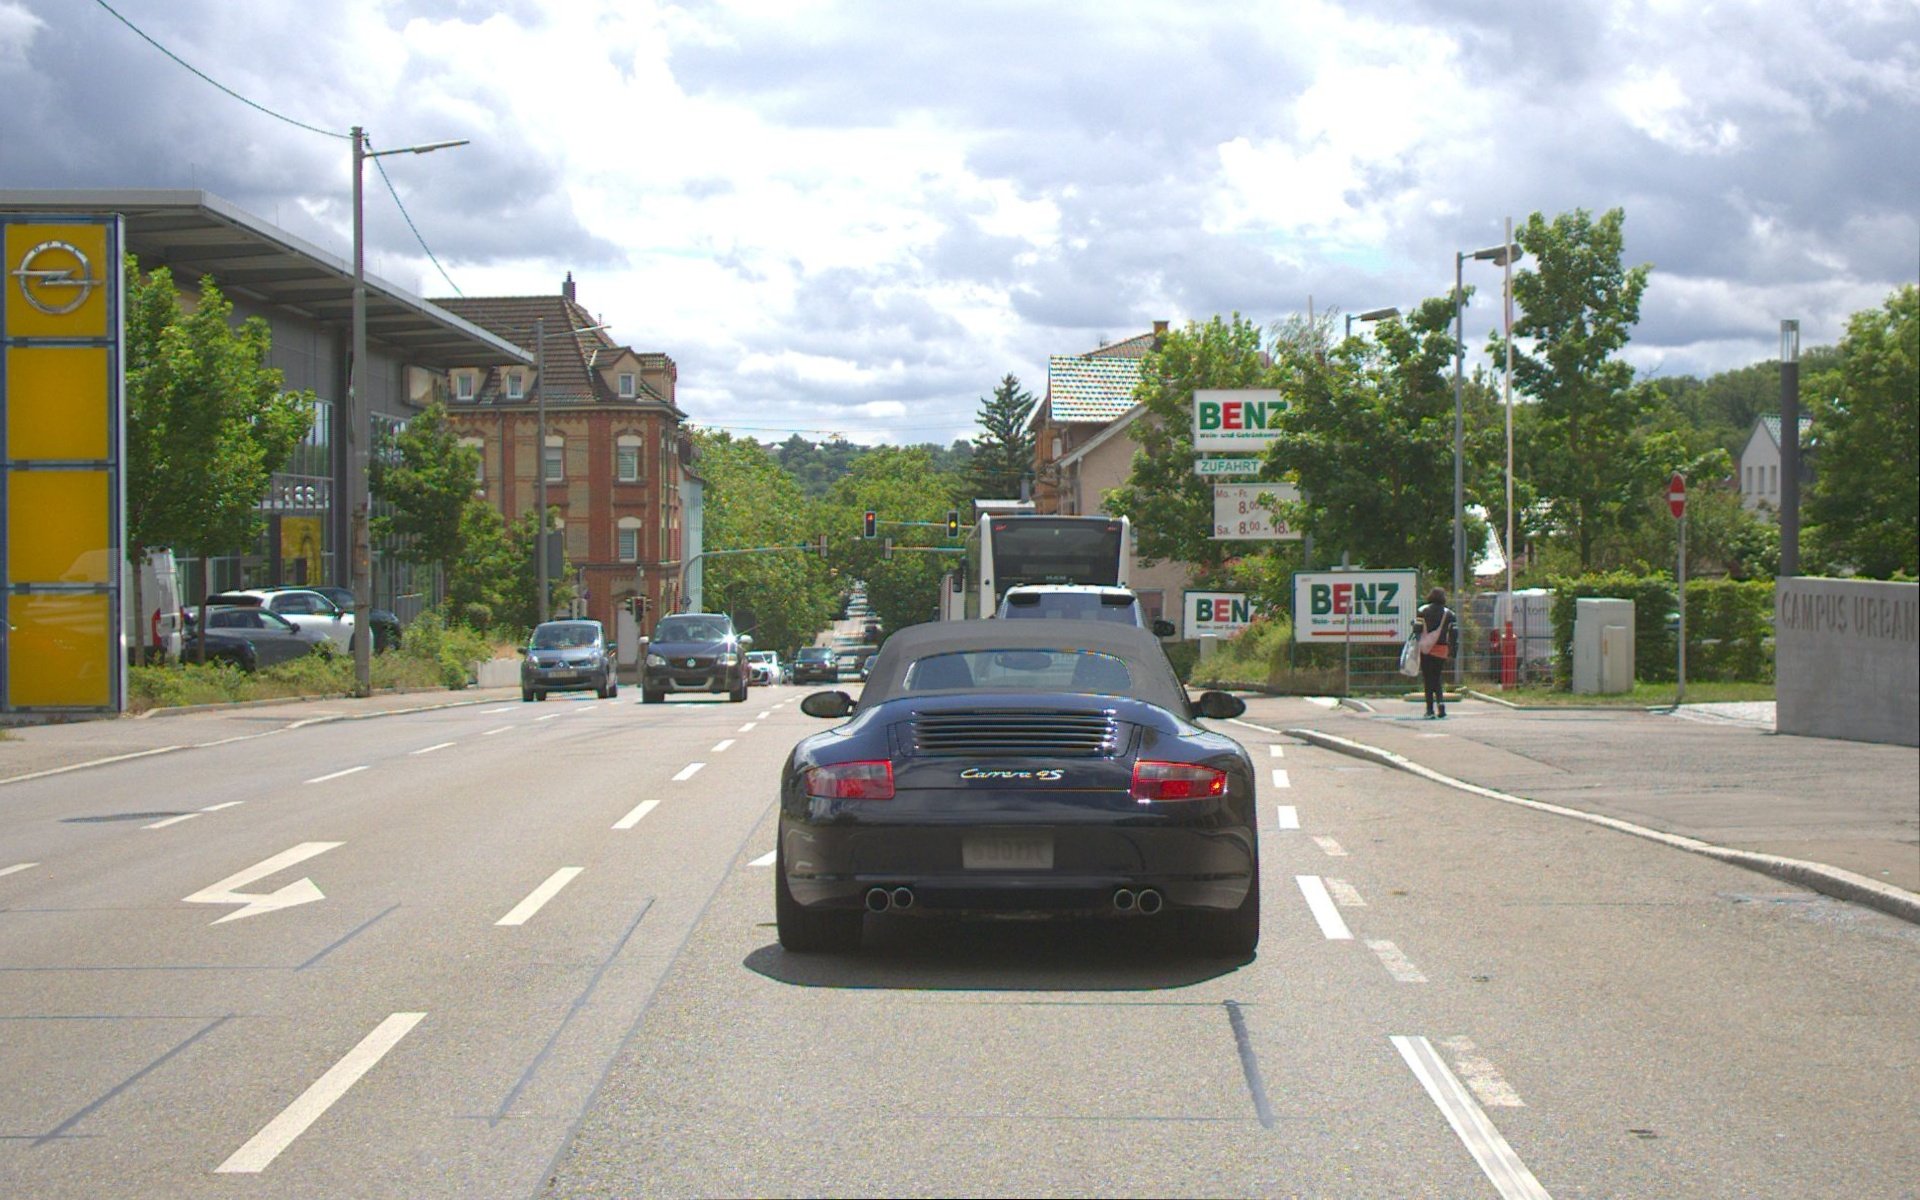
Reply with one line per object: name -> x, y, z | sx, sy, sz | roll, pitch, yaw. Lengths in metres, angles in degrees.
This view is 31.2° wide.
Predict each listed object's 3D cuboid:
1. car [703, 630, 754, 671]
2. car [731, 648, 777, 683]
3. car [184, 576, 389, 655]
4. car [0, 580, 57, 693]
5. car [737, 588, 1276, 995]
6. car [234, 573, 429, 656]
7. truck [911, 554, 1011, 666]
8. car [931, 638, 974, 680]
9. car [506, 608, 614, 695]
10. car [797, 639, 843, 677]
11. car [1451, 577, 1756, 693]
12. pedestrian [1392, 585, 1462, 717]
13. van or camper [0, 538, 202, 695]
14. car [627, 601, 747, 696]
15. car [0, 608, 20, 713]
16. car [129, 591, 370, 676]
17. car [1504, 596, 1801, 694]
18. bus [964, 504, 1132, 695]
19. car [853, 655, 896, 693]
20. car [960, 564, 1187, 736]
car -> -9.061, 1.982, 134.798 | 1.871, 1.486, 3.849 | -3, 0, -3
car -> -8.981, 2.860, 150.222 | 1.864, 1.535, 4.107 | 0, -1, -2
car -> -13.780, 0.336, 70.601 | 1.933, 1.567, 4.548 | 0, -1, 23
car -> -16.517, 0.554, 54.160 | 3.987, 1.700, 2.000 | 0, 1, 5
car -> 0.177, 0.680, 14.438 | 1.930, 1.372, 4.208 | 0, 1, 0
car -> -13.814, 0.296, 75.801 | 1.996, 1.693, 4.479 | 1, 1, 25
truck -> -0.038, 0.352, 101.321 | 2.666, 3.097, 9.035 | -1, -1, -1
car -> -0.340, 2.729, 159.916 | 1.832, 1.875, 4.000 | -1, 0, -2
car -> -7.919, 0.998, 68.335 | 1.743, 1.590, 4.042 | -3, 0, -2
car -> -5.780, 2.401, 142.428 | 1.864, 1.535, 4.107 | 0, -1, -2
car -> 11.114, 0.607, 59.546 | 4.706, 1.842, 2.089 | -1, -1, -8
pedestrian -> 5.515, 0.594, 40.647 | 0.687, 1.531, 0.856 | -1, 0, -1
van or camper -> -15.275, 0.241, 56.752 | 5.026, 2.522, 2.318 | 0, 1, -1
car -> -4.542, 0.800, 57.615 | 1.829, 1.504, 4.277 | -1, -1, -2
car -> -15.794, 0.875, 49.400 | 3.987, 1.486, 2.000 | 0, 1, 2
car -> -13.483, 0.605, 65.495 | 1.897, 1.445, 4.825 | 1, 2, 27
car -> 11.378, 0.744, 56.718 | 4.432, 1.476, 2.000 | -1, -1, -1
bus -> 1.559, -0.161, 63.699 | 2.802, 3.187, 12.196 | 0, 1, 1
car -> -3.813, 3.272, 152.223 | 1.864, 1.660, 4.259 | 0, -1, -2
car -> 1.062, 0.446, 34.262 | 1.930, 1.577, 4.208 | 0, 1, -3
